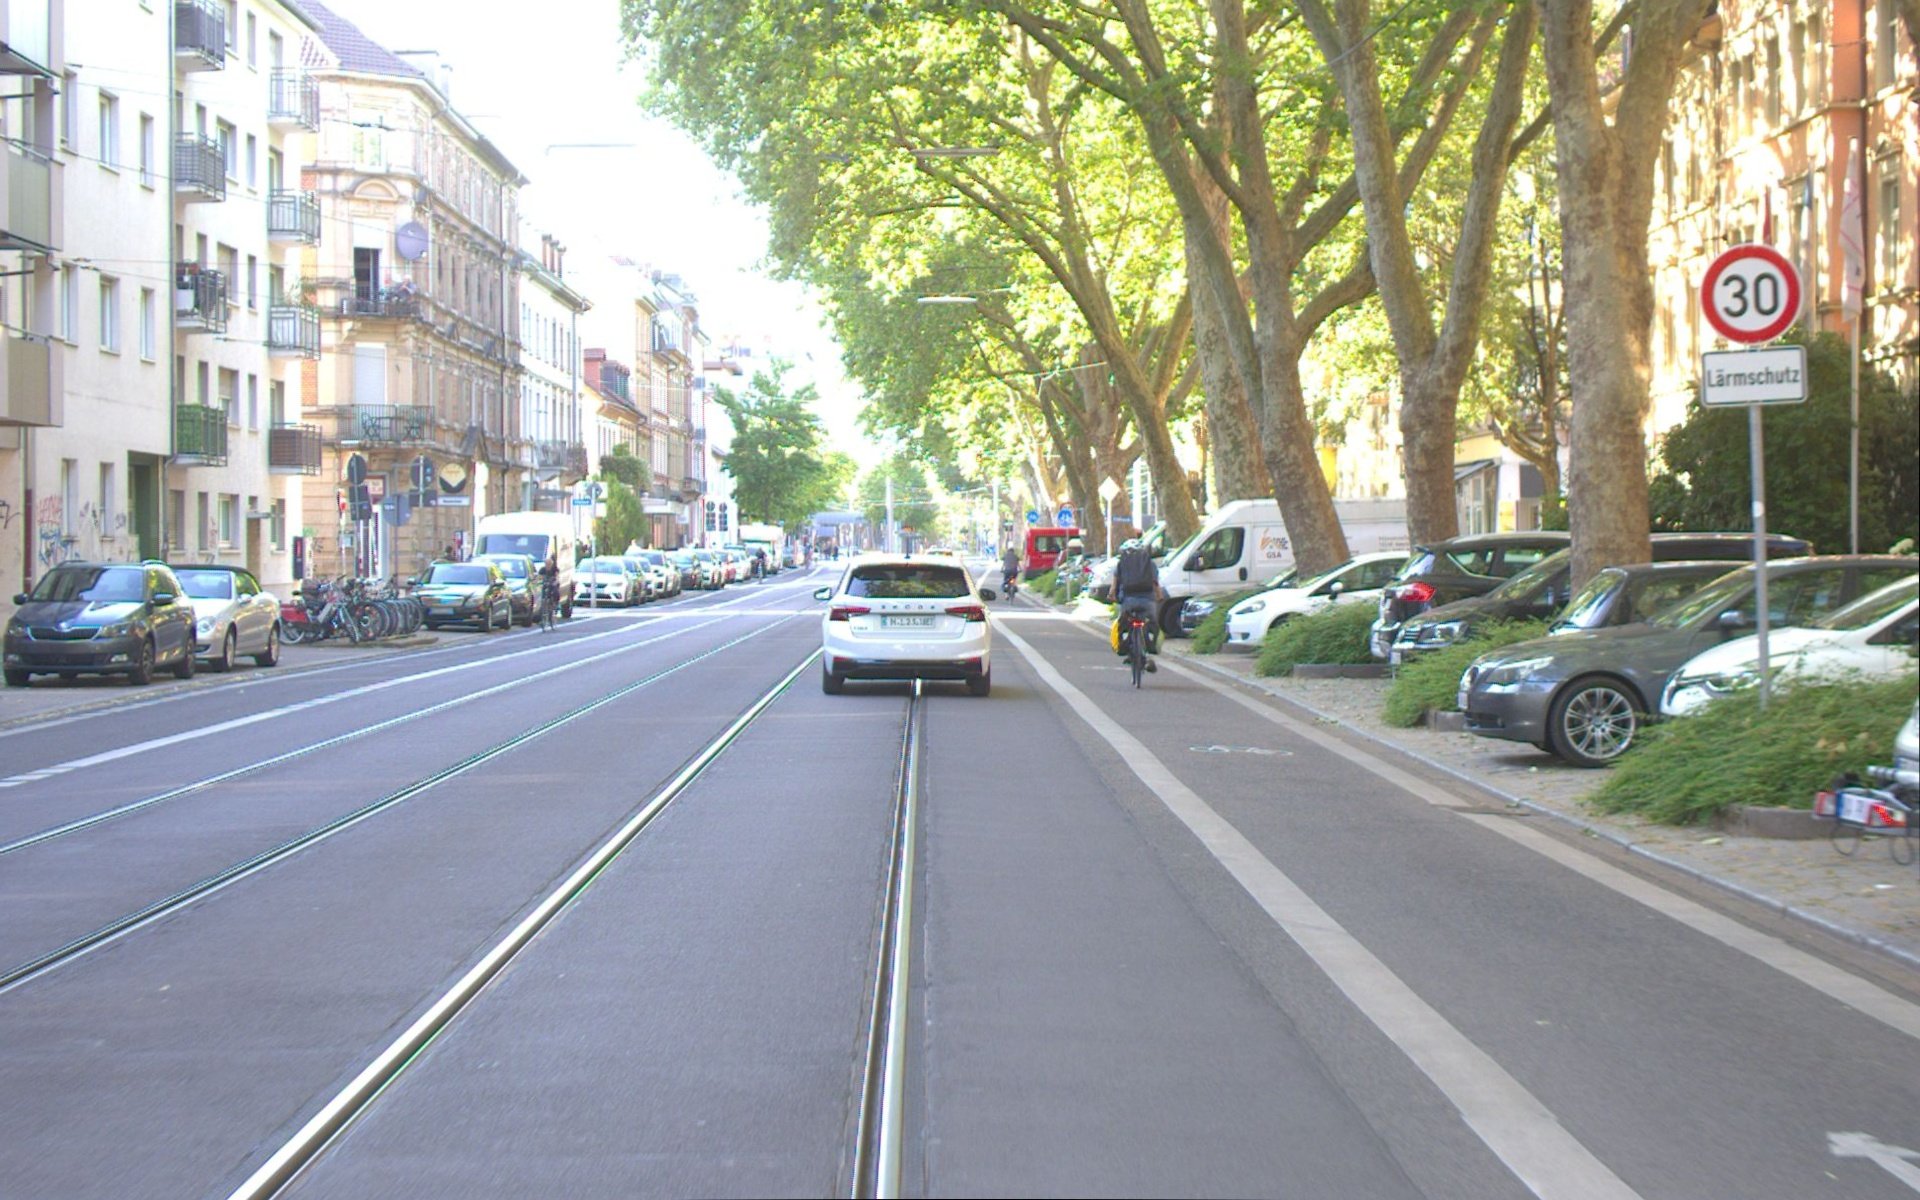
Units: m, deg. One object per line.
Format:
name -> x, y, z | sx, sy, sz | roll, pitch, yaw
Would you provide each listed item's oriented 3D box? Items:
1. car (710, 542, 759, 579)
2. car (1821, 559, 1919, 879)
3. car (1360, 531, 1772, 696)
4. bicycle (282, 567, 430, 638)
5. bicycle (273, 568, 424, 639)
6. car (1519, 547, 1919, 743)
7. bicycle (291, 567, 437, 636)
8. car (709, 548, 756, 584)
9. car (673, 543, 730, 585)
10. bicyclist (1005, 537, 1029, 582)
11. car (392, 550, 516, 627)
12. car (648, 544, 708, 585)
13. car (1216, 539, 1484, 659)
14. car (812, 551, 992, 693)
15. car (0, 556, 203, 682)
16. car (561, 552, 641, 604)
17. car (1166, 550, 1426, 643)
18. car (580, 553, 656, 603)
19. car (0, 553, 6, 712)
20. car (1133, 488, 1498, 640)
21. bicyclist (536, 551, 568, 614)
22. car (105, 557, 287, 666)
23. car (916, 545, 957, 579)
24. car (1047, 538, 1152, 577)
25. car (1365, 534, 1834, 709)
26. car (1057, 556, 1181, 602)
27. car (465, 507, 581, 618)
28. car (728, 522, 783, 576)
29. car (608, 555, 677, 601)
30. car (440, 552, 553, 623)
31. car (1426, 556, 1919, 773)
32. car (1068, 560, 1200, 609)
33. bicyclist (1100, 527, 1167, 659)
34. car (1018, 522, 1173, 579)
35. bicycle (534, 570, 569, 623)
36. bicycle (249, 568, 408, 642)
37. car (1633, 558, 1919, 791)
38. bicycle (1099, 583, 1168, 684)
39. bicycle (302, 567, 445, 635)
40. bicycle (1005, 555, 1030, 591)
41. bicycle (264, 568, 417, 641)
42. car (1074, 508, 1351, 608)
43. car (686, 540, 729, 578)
car -> -10.444, -1.817, 159.258 | 1.993, 1.634, 4.000 | 1, 0, 0
car -> 6.346, 0.538, 16.621 | 3.897, 1.474, 1.724 | 0, 1, -3
car -> 6.300, 0.126, 36.032 | 3.986, 1.674, 1.723 | 0, 1, -1
bicycle -> -10.781, 0.049, 61.459 | 2.524, 1.168, 0.719 | 2, -1, -5
bicycle -> -10.740, 0.066, 60.399 | 2.524, 1.168, 0.719 | 2, -1, -5
car -> 6.630, 0.332, 27.560 | 3.986, 1.509, 1.761 | 0, 1, -1
bicycle -> -10.794, 0.036, 62.308 | 2.524, 1.168, 0.719 | 2, -1, -5
car -> -10.884, -1.617, 164.610 | 1.993, 1.634, 4.000 | 1, 0, 0
car -> -10.419, -1.444, 138.781 | 1.993, 1.634, 4.000 | 1, 0, 0
bicyclist -> 1.748, -1.243, 105.418 | 0.649, 1.339, 0.934 | 0, 1, -2
car -> -10.375, -0.257, 70.732 | 1.993, 1.525, 4.000 | 0, 1, 0
car -> -10.822, -1.379, 132.090 | 1.993, 1.525, 4.000 | 0, 1, 0
car -> 5.478, -0.020, 48.643 | 3.634, 1.661, 1.822 | 0, 1, 2
car -> -0.578, 0.190, 35.907 | 1.761, 1.379, 4.000 | 0, 1, 0
car -> -10.322, 0.200, 41.509 | 1.653, 1.432, 3.837 | 0, 1, -2
car -> -10.720, -0.674, 102.784 | 1.993, 1.525, 4.000 | 0, 1, 0
car -> 5.651, -0.073, 58.064 | 4.048, 1.535, 2.000 | 0, 1, -6
car -> -10.624, -0.700, 107.012 | 1.993, 1.525, 4.000 | 0, 1, 0
car -> -10.068, 0.314, 31.080 | 1.702, 1.539, 4.242 | 2, 1, -1
car -> 6.239, -0.650, 60.904 | 6.130, 2.626, 2.529 | 0, 1, -2
bicyclist -> -8.411, -0.370, 70.853 | 0.597, 1.282, 0.917 | 0, 1, -3
car -> -10.293, 0.127, 46.548 | 1.485, 1.398, 3.990 | 0, 1, 2
car -> -1.016, -1.653, 149.070 | 1.761, 1.470, 4.000 | 0, 1, 0
car -> 5.467, -1.668, 135.041 | 4.049, 1.535, 2.000 | 0, 1, -1
car -> 6.214, 0.193, 33.726 | 4.234, 1.661, 1.848 | 0, 1, -1
car -> 5.328, -0.720, 115.536 | 4.049, 1.535, 2.000 | 0, 1, -1
car -> -10.438, -0.915, 82.450 | 2.178, 2.588, 4.949 | 0, 1, 0
car -> -12.191, -3.016, 205.332 | 2.968, 3.145, 5.847 | 1, 0, 0
car -> -10.755, -0.764, 116.748 | 1.993, 1.525, 4.000 | 0, 1, 0
car -> -10.277, -0.299, 76.514 | 1.993, 1.525, 4.000 | 0, 1, 0
car -> 5.626, 0.439, 25.118 | 4.142, 1.509, 1.931 | 0, 1, -1
car -> 5.495, -0.499, 108.989 | 4.049, 1.535, 2.000 | 0, 1, -1
bicyclist -> 1.922, -0.082, 38.168 | 0.678, 1.438, 1.047 | 0, 1, 0
car -> 5.471, -2.004, 139.730 | 6.130, 2.274, 2.529 | 0, 1, -2
bicycle -> -8.409, -0.081, 70.816 | 0.605, 1.067, 1.583 | 0, 1, -3
bicycle -> -10.775, 0.088, 58.702 | 2.525, 1.168, 0.883 | 2, -1, -40
car -> 6.689, 0.460, 22.867 | 4.036, 1.474, 1.923 | 0, 1, 0
bicycle -> 1.925, 0.362, 38.316 | 0.681, 1.067, 1.781 | 0, 1, 0
bicycle -> -10.799, 0.029, 63.362 | 2.524, 1.168, 0.719 | 2, -1, -6
bicycle -> 1.757, -0.827, 105.398 | 0.649, 1.067, 1.583 | 0, 1, -2
bicycle -> -10.722, 0.079, 59.584 | 2.524, 1.168, 0.719 | 2, -1, -6
car -> 5.793, -0.971, 79.509 | 6.130, 2.274, 2.529 | 0, 1, -2
car -> -13.493, -2.183, 183.882 | 1.993, 2.007, 4.000 | 0, 1, 0
